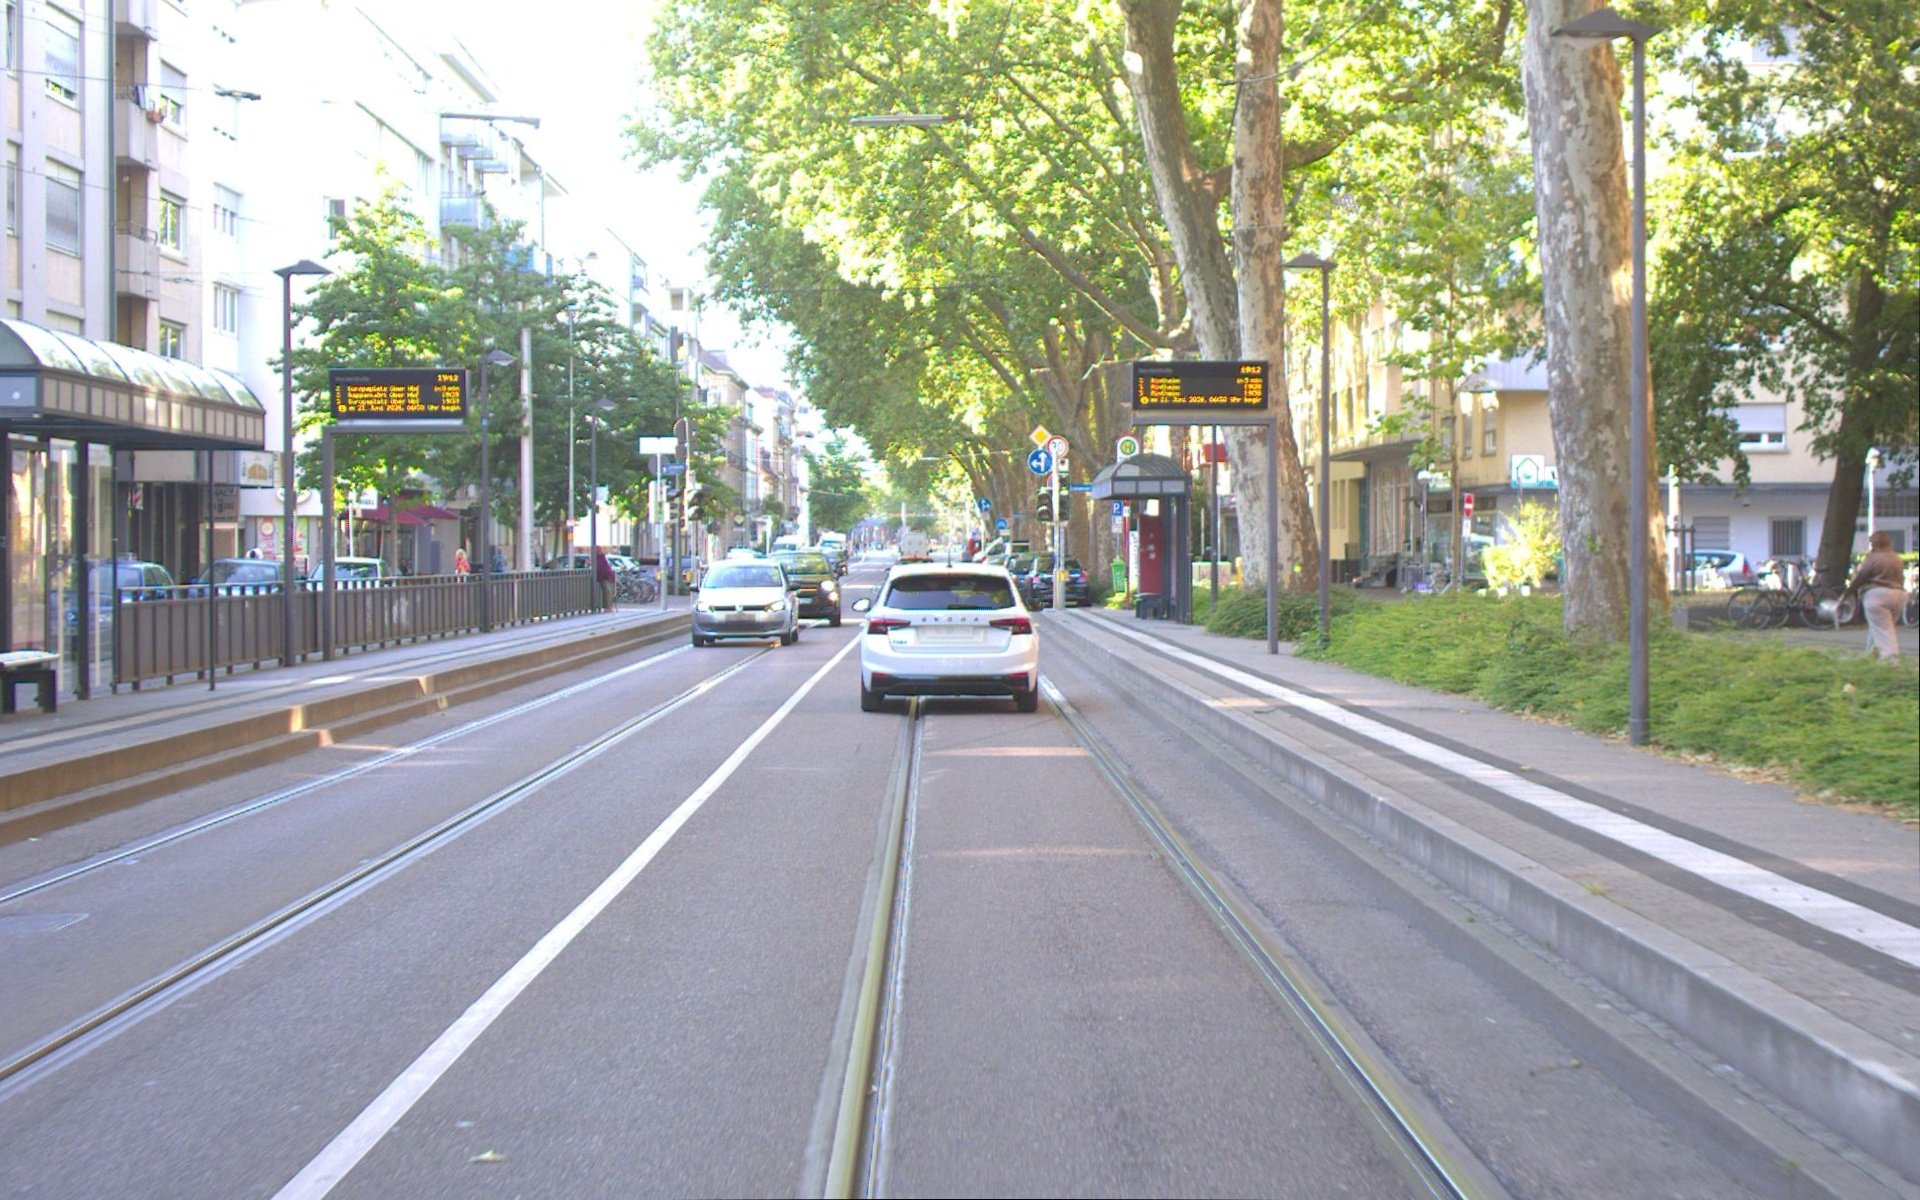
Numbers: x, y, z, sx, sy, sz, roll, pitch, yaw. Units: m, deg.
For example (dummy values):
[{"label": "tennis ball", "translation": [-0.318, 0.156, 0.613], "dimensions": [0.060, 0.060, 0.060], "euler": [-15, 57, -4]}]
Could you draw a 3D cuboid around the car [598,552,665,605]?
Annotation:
[{"label": "car", "translation": [-10.273, -0.687, 107.714], "dimensions": [1.678, 1.543, 4.000], "euler": [2, 1, -1]}]

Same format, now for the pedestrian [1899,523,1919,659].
[{"label": "pedestrian", "translation": [11.938, -0.118, 41.448], "dimensions": [0.972, 1.618, 0.887], "euler": [0, 1, 0]}]

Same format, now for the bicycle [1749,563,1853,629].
[{"label": "bicycle", "translation": [13.408, -0.070, 54.833], "dimensions": [1.567, 1.034, 0.479], "euler": [0, 1, 21]}]

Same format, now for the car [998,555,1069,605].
[{"label": "car", "translation": [2.189, -0.613, 102.915], "dimensions": [1.993, 1.448, 4.000], "euler": [0, 1, 0]}]

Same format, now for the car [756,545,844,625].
[{"label": "car", "translation": [-3.357, -0.351, 72.814], "dimensions": [1.694, 1.638, 4.000], "euler": [0, 1, 0]}]

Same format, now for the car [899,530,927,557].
[{"label": "car", "translation": [-3.246, -3.930, 238.385], "dimensions": [1.866, 1.886, 4.000], "euler": [0, 1, 0]}]

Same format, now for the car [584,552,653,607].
[{"label": "car", "translation": [-10.263, -0.635, 103.613], "dimensions": [1.678, 1.543, 4.000], "euler": [2, 1, -1]}]

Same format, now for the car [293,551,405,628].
[{"label": "car", "translation": [-13.069, -0.252, 73.672], "dimensions": [1.678, 1.543, 4.000], "euler": [2, 1, -1]}]

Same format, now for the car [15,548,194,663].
[{"label": "car", "translation": [-12.425, 0.048, 50.118], "dimensions": [1.593, 1.543, 4.000], "euler": [2, 1, 0]}]

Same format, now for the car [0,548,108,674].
[{"label": "car", "translation": [-12.563, 0.107, 45.419], "dimensions": [1.593, 1.543, 4.000], "euler": [2, 1, 0]}]

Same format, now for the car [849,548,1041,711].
[{"label": "car", "translation": [-0.153, 0.245, 34.088], "dimensions": [1.788, 1.508, 4.000], "euler": [0, 1, 0]}]

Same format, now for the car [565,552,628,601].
[{"label": "car", "translation": [-12.189, -0.789, 115.470], "dimensions": [1.678, 1.543, 4.000], "euler": [2, 1, -1]}]

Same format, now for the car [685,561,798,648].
[{"label": "car", "translation": [-3.702, 0.054, 58.691], "dimensions": [1.694, 1.414, 4.000], "euler": [0, 1, 0]}]

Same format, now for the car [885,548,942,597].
[{"label": "car", "translation": [-1.461, -0.901, 109.613], "dimensions": [1.788, 1.508, 4.000], "euler": [0, 1, 0]}]

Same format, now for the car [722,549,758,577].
[{"label": "car", "translation": [-12.277, -2.082, 192.195], "dimensions": [1.788, 1.508, 4.000], "euler": [0, 1, 0]}]

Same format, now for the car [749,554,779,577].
[{"label": "car", "translation": [-13.032, -2.302, 228.243], "dimensions": [1.788, 1.508, 4.000], "euler": [0, 1, 0]}]

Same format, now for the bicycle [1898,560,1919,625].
[{"label": "bicycle", "translation": [15.819, -0.116, 54.911], "dimensions": [1.567, 1.034, 0.479], "euler": [0, 1, 21]}]

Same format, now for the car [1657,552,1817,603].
[{"label": "car", "translation": [21.349, -0.634, 94.544], "dimensions": [3.987, 1.368, 1.867], "euler": [0, 1, 1]}]

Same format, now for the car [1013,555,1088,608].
[{"label": "car", "translation": [2.563, -0.549, 97.829], "dimensions": [1.993, 1.448, 4.000], "euler": [0, 1, 0]}]

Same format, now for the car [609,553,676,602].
[{"label": "car", "translation": [-10.326, -0.738, 111.888], "dimensions": [1.794, 1.505, 4.000], "euler": [2, 1, -1]}]

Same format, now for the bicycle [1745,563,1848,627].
[{"label": "bicycle", "translation": [13.569, -0.082, 55.748], "dimensions": [1.567, 1.034, 0.504], "euler": [0, 1, 21]}]

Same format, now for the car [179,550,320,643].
[{"label": "car", "translation": [-12.667, -0.098, 61.514], "dimensions": [1.678, 1.543, 4.000], "euler": [2, 1, -1]}]

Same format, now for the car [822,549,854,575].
[{"label": "car", "translation": [-7.294, -2.294, 206.199], "dimensions": [1.788, 1.508, 4.000], "euler": [0, 1, 0]}]

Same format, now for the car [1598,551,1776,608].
[{"label": "car", "translation": [17.742, -0.511, 84.048], "dimensions": [3.987, 1.368, 1.867], "euler": [0, 1, 2]}]

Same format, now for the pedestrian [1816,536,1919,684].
[{"label": "pedestrian", "translation": [10.089, 0.105, 38.087], "dimensions": [0.972, 1.618, 0.887], "euler": [0, 1, 0]}]
